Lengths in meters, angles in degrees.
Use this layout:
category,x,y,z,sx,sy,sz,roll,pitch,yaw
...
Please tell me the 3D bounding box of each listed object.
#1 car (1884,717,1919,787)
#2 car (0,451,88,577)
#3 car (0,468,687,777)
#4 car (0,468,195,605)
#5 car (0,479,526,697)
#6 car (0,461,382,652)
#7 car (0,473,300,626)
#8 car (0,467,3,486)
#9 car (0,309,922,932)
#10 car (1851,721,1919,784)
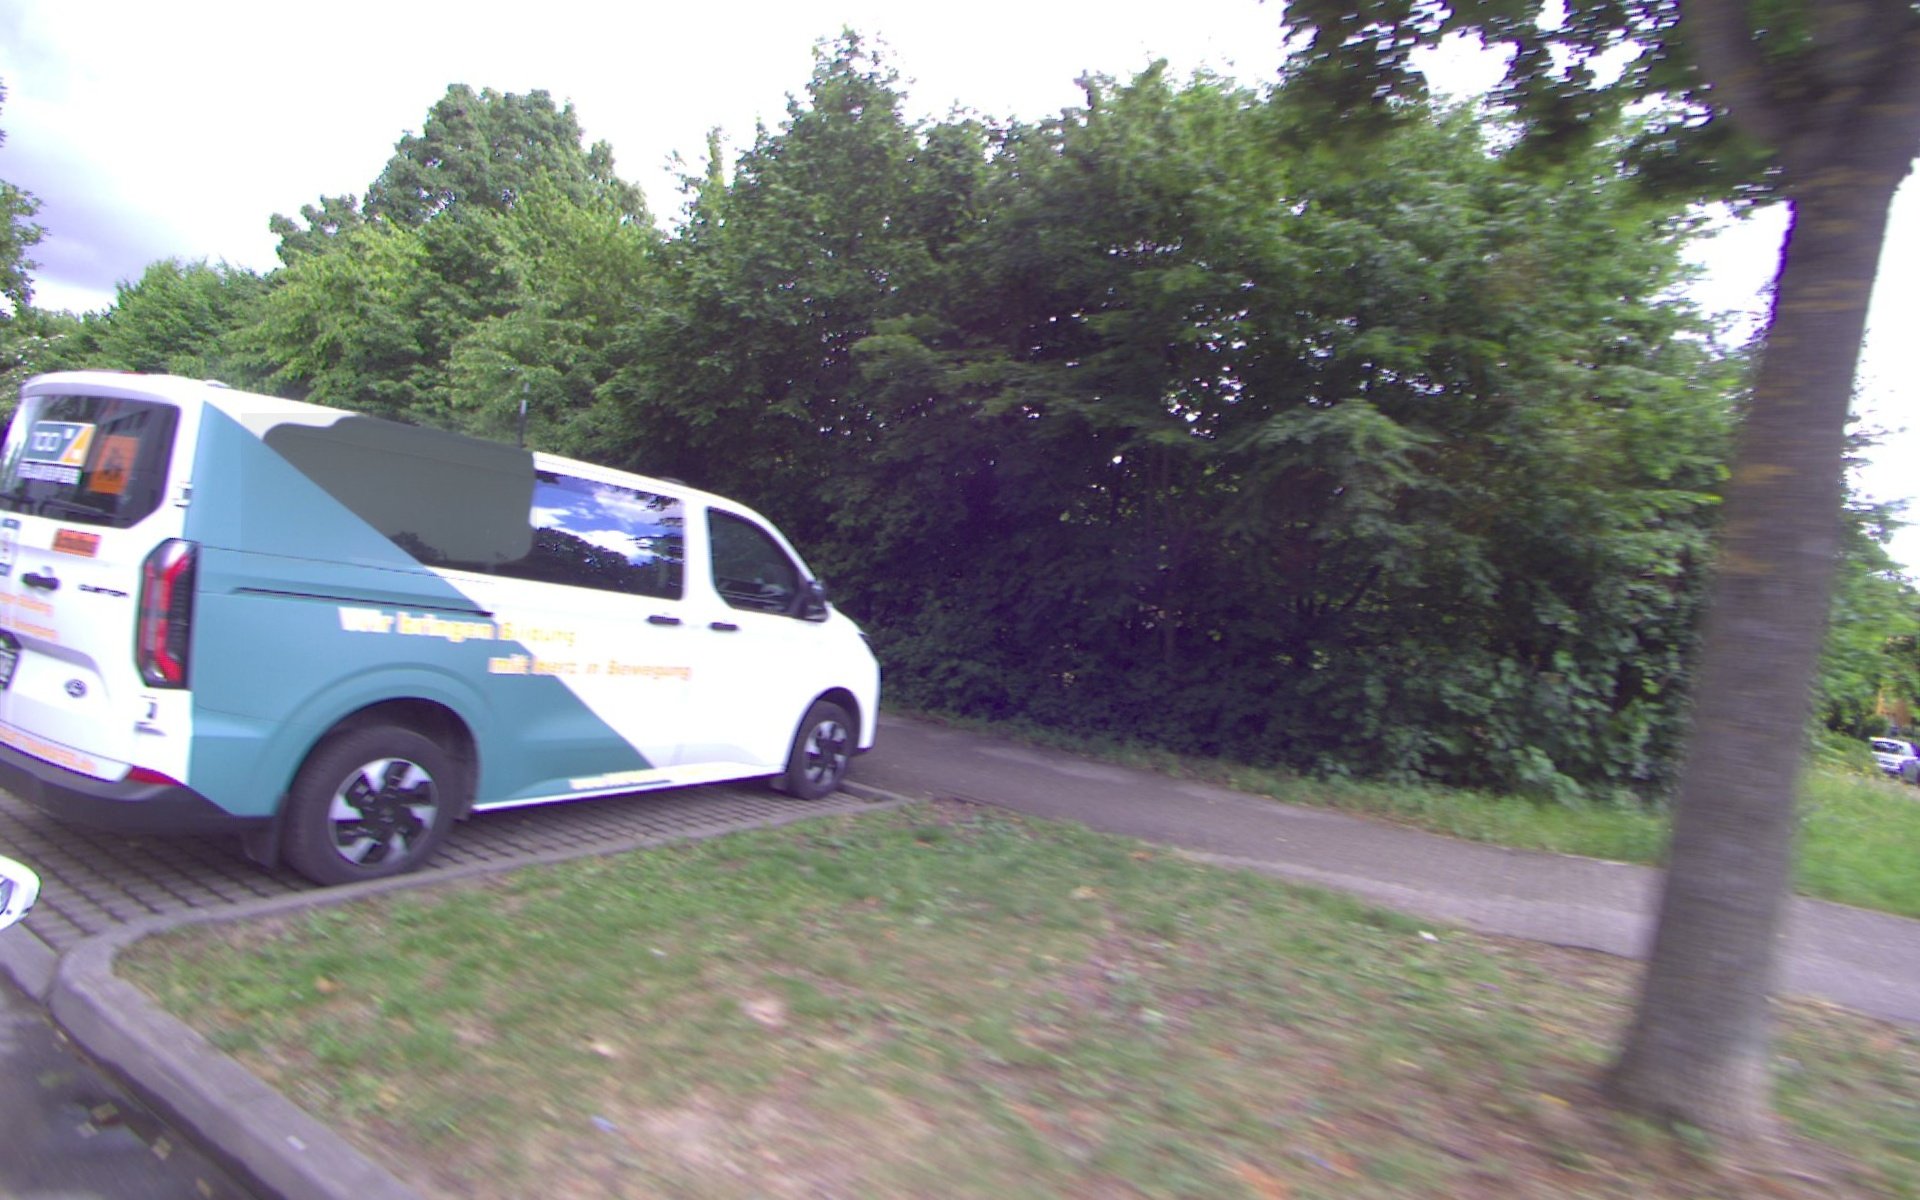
category,x,y,z,sx,sy,sz,roll,pitch,yaw
car,31.159,4.901,31.603,2.103,2.081,5.324,7,-1,34
car,-16.702,-1.571,15.584,1.885,1.928,4.381,8,1,32
car,-4.439,0.135,7.188,1.816,1.536,4.706,8,1,32
car,-12.847,-0.953,12.912,1.885,1.597,4.381,8,1,32
car,-6.475,-0.094,8.529,2.023,1.452,4.725,8,1,33
car,-8.540,-0.431,10.290,1.861,1.629,4.068,8,1,32
car,-10.708,-0.648,11.566,2.075,1.518,4.731,8,1,29
car,-21.178,-2.010,18.738,1.905,1.926,4.386,8,-1,32
car,-2.362,0.094,5.829,1.815,1.997,4.979,8,1,29
car,36.914,5.975,39.395,2.103,2.081,5.324,7,-1,34
